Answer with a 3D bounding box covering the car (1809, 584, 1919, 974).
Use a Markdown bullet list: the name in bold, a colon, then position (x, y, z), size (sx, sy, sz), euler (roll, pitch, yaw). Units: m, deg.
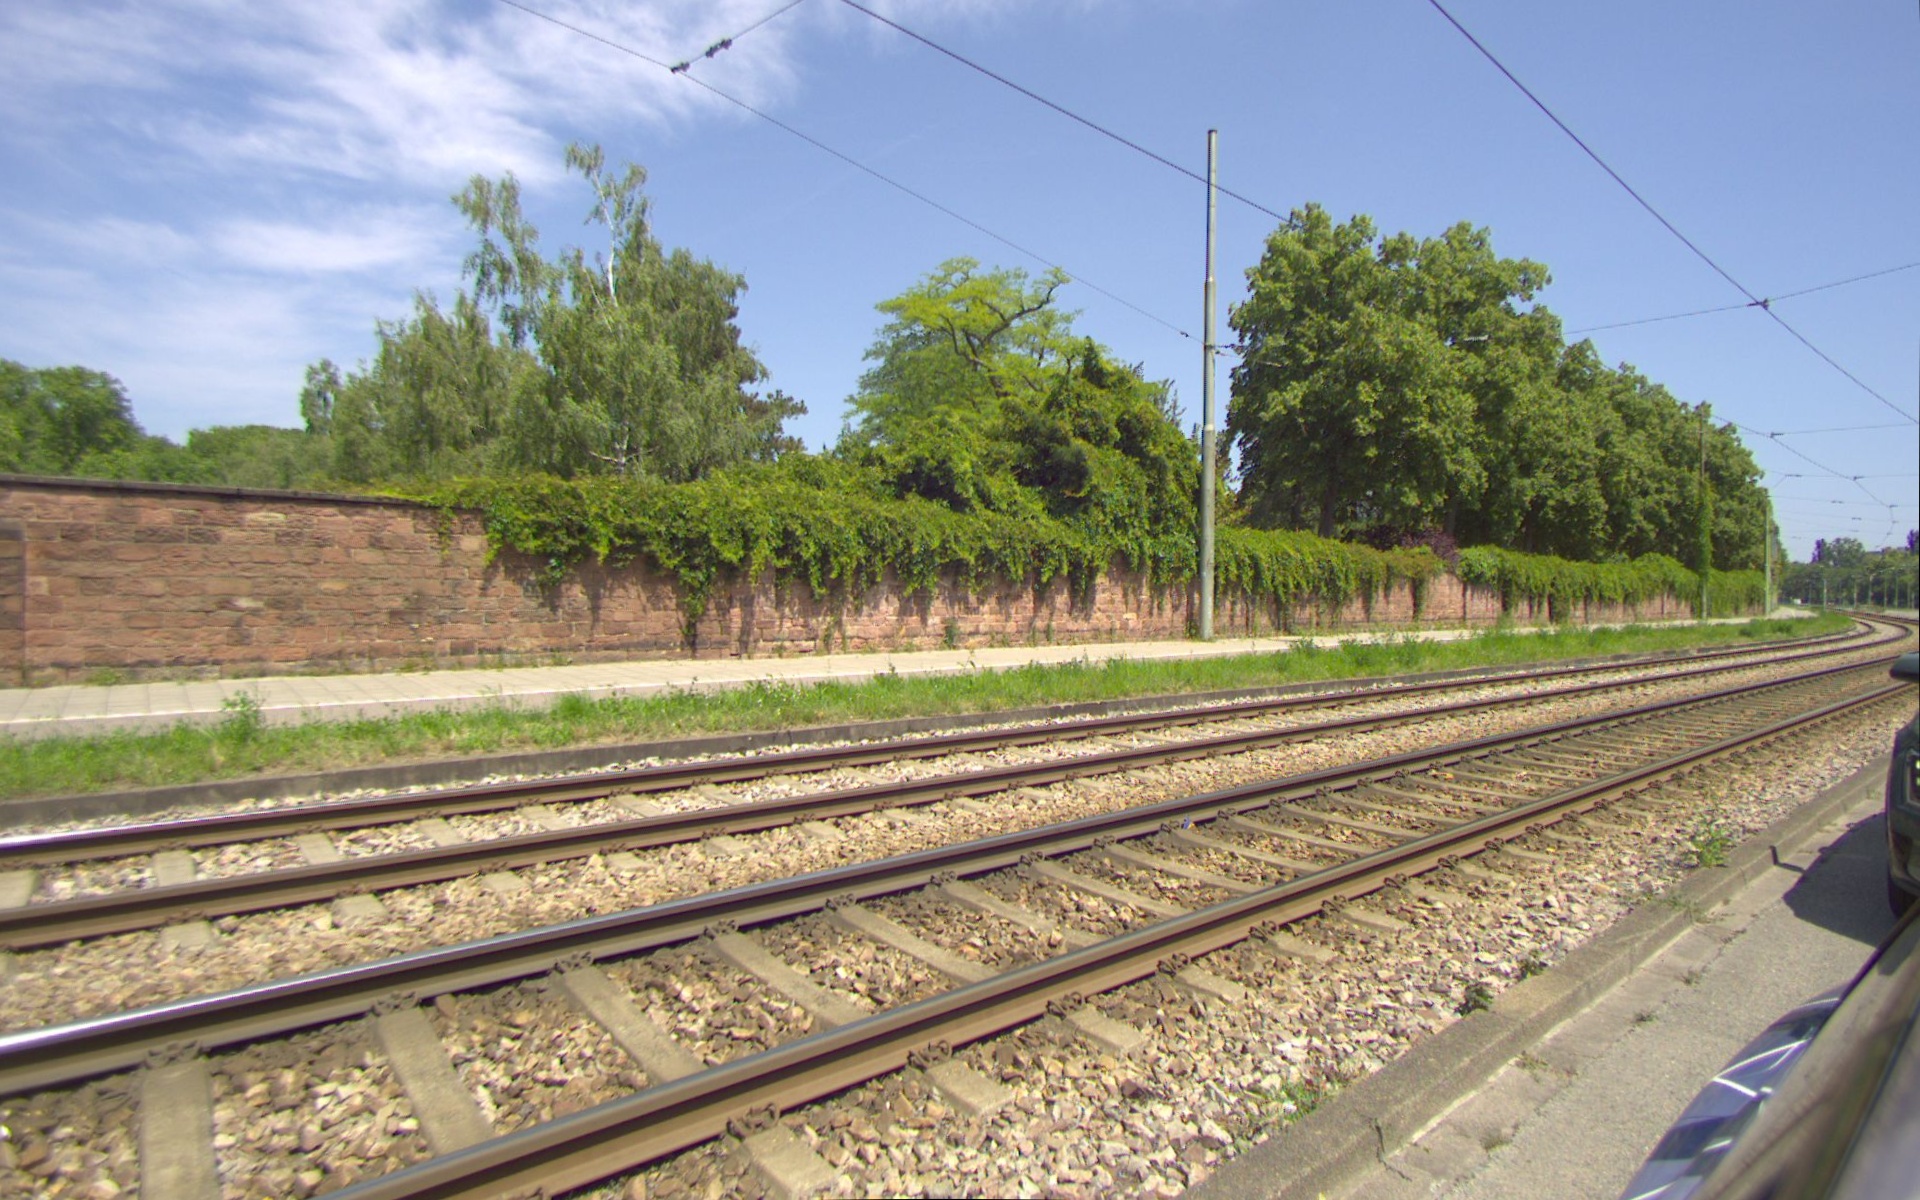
- **car**: position (5.820, 0.711, 4.736), size (3.927, 1.563, 2.062), euler (0, -1, -38)
